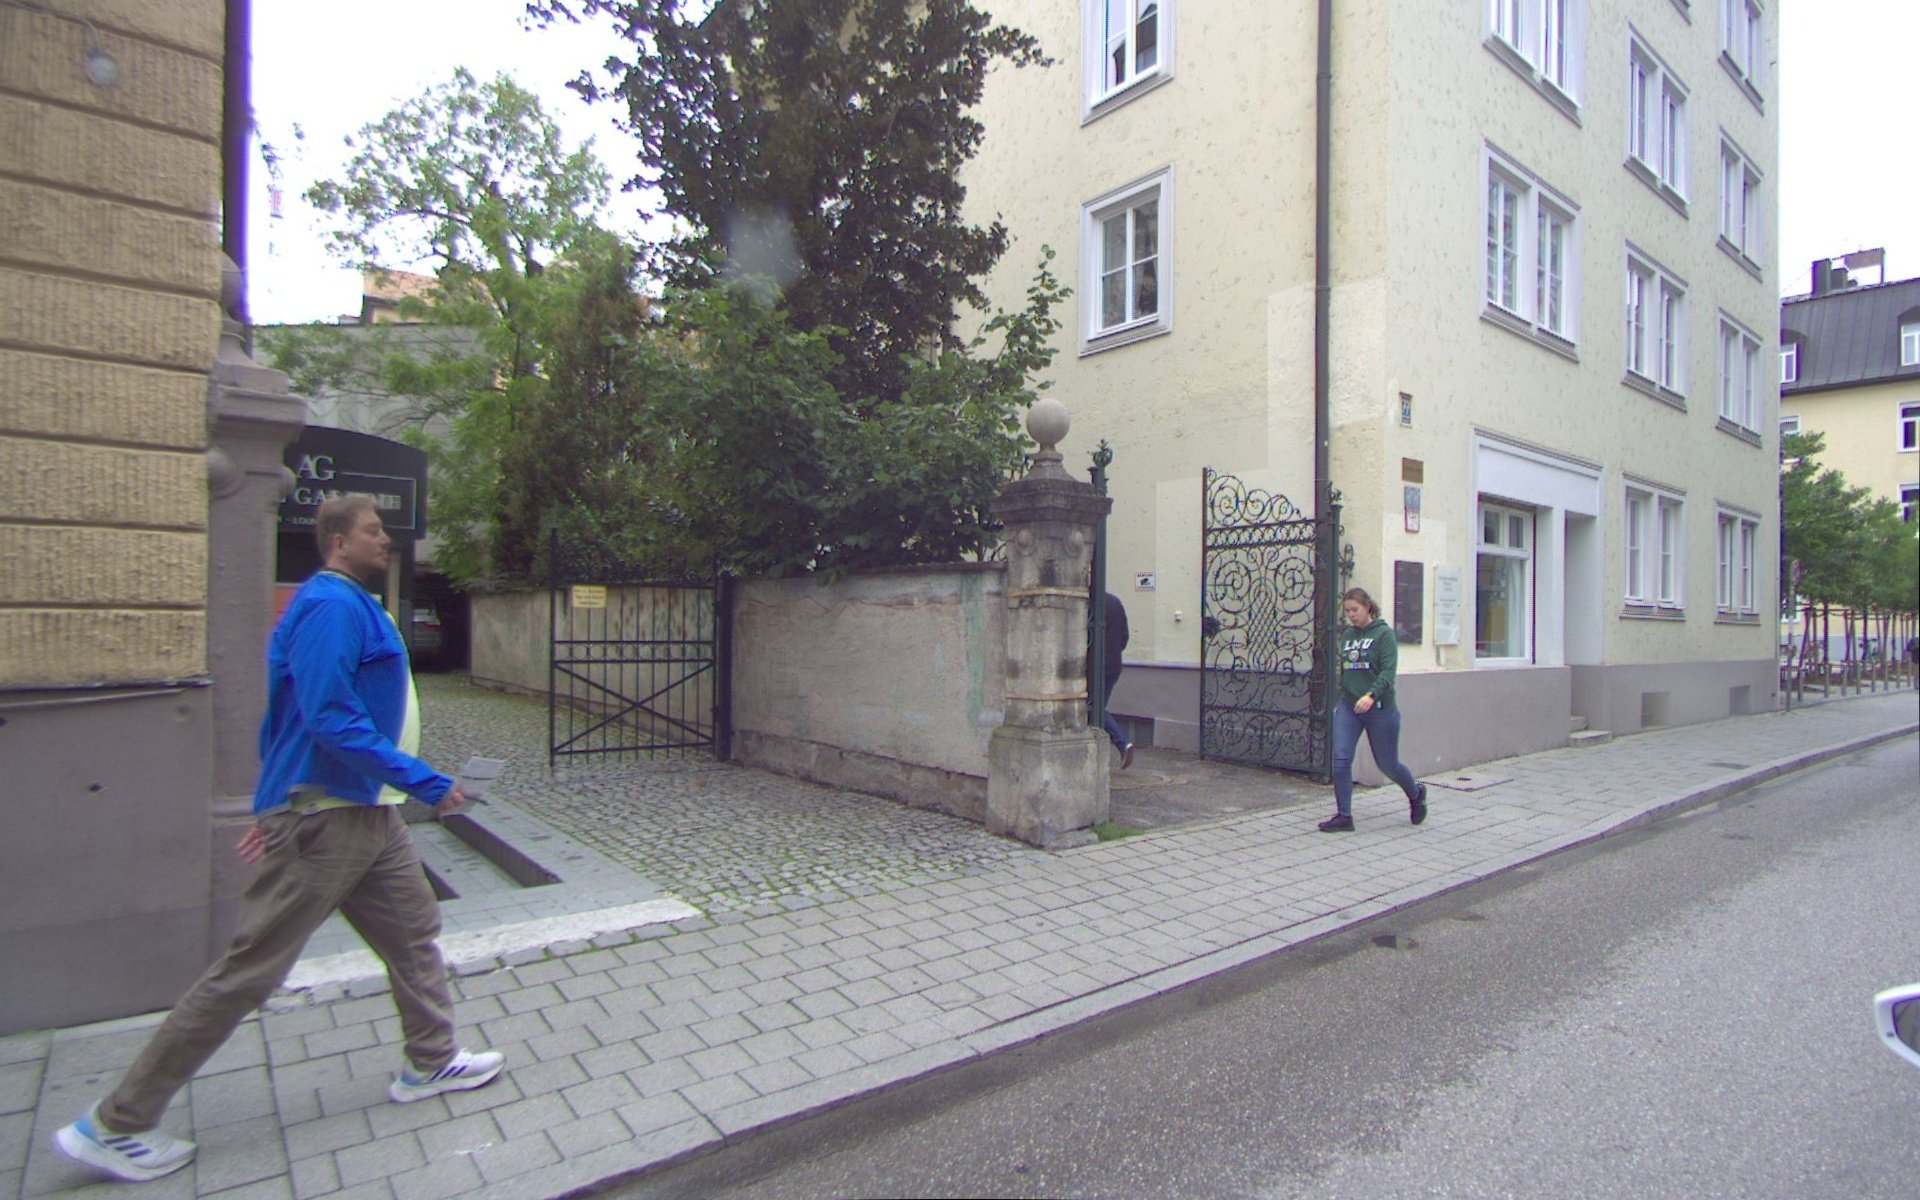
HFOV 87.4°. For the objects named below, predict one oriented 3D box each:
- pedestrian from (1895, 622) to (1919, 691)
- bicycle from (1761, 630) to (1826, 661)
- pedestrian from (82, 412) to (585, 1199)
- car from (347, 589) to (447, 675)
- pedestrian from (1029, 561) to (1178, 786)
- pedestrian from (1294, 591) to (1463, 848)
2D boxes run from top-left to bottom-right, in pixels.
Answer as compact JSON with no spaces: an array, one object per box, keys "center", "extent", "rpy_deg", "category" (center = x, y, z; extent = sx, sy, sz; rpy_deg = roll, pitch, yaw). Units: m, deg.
[{"center":[23.754,1.397,24.988],"extent":[0.718,1.699,0.641],"rpy_deg":[2,0,-40],"category":"pedestrian"},{"center":[35.079,1.889,42.303],"extent":[0.563,1.213,2.032],"rpy_deg":[1,0,-31],"category":"bicycle"},{"center":[-1.757,0.528,2.873],"extent":[1.068,1.879,0.751],"rpy_deg":[2,0,-39],"category":"pedestrian"},{"center":[-12.177,0.630,21.640],"extent":[1.617,1.561,3.698],"rpy_deg":[2,1,-33],"category":"car"},{"center":[1.270,0.616,8.935],"extent":[0.901,1.851,0.945],"rpy_deg":[1,-1,-39],"category":"pedestrian"},{"center":[3.019,0.806,7.244],"extent":[0.922,1.688,0.707],"rpy_deg":[1,2,-39],"category":"pedestrian"}]
